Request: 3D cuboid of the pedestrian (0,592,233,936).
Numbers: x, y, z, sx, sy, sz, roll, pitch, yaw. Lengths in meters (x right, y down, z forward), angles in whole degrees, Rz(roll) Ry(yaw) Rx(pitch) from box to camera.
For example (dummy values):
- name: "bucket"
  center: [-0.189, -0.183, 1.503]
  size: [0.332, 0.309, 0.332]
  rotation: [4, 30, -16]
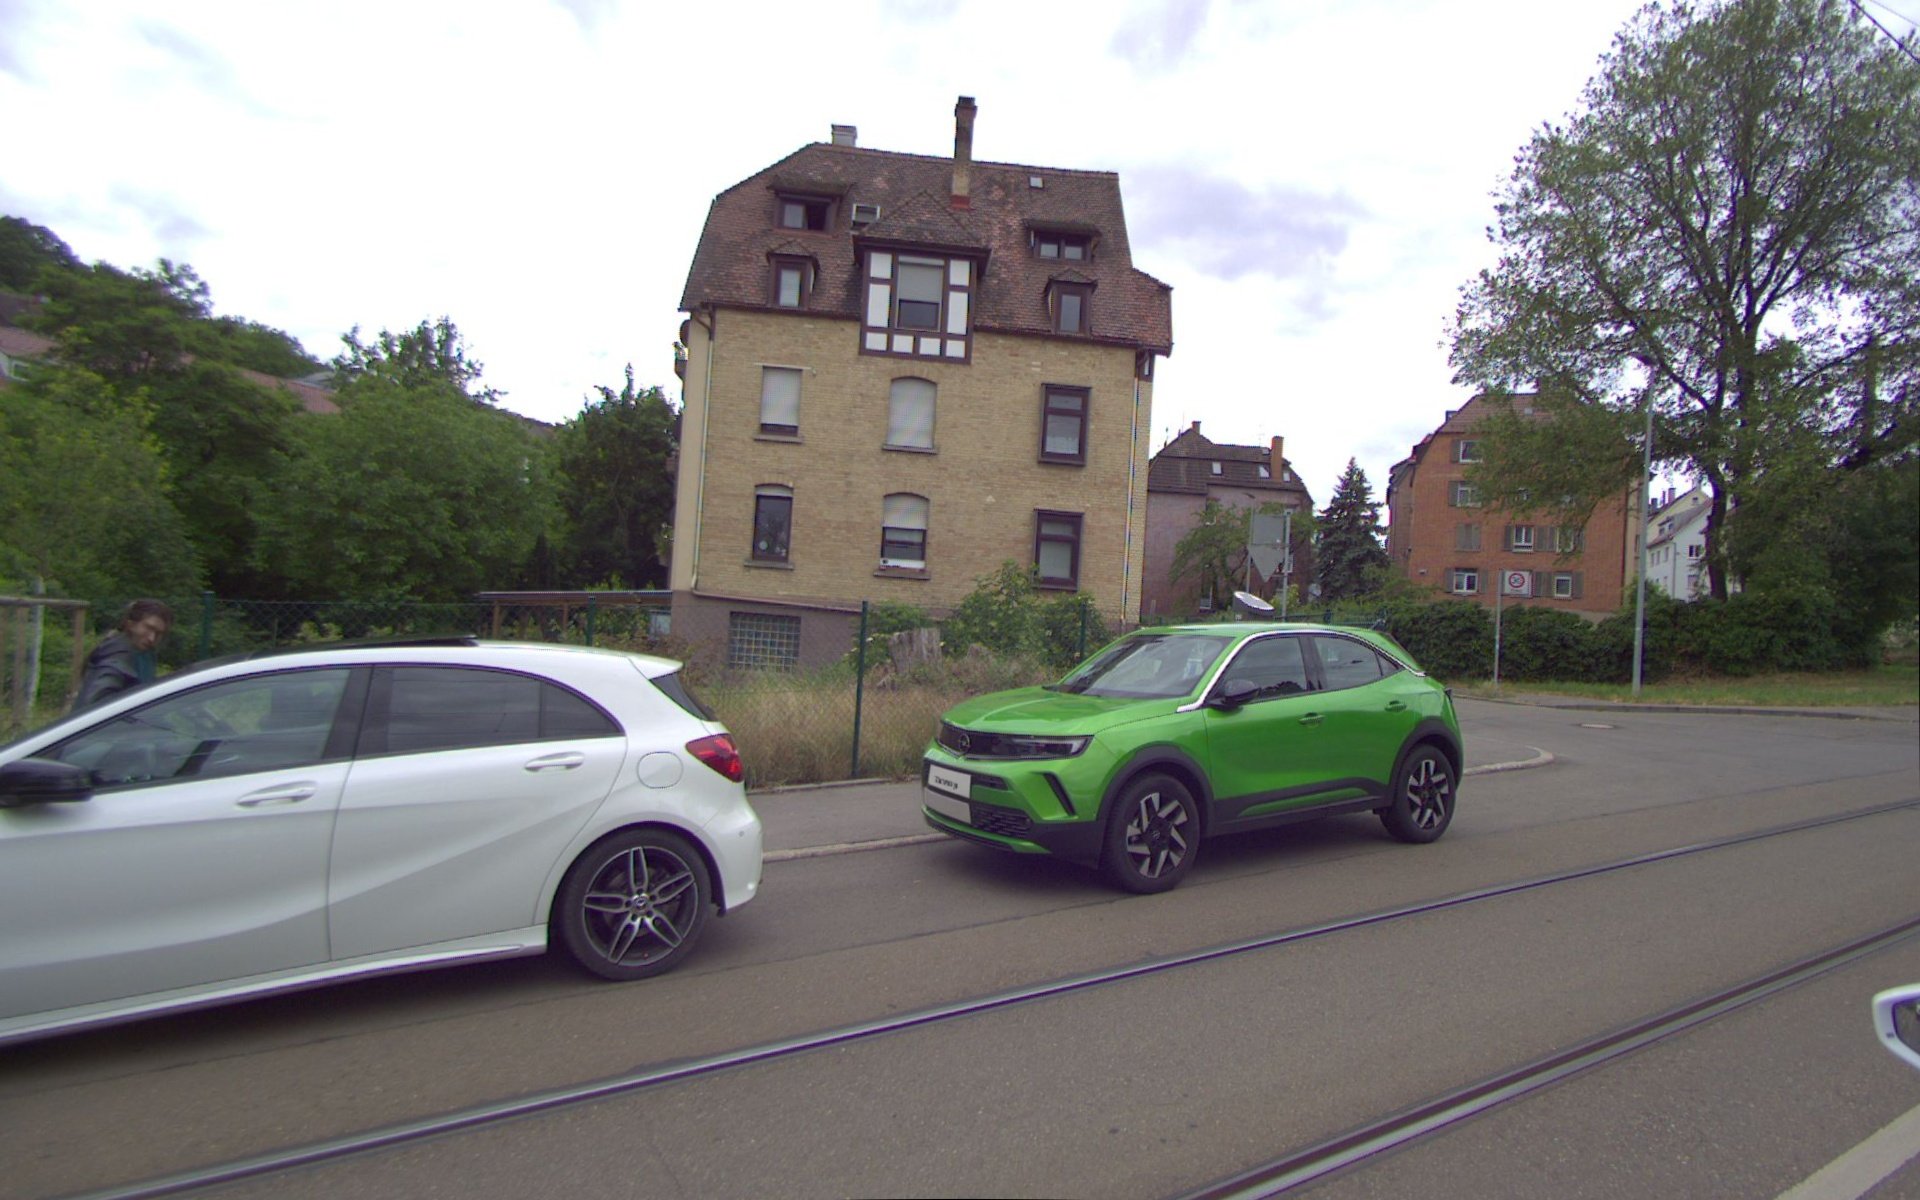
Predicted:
- name: "pedestrian"
  center: [-4.512, 0.798, 5.348]
  size: [0.906, 1.650, 0.801]
  rotation: [2, 0, -30]

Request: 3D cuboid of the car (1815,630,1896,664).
- name: "car"
  center: [47.308, 2.445, 53.179]
  size: [1.961, 1.617, 3.999]
  rotation: [2, -1, 23]

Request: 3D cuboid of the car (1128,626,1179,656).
- name: "car"
  center: [10.714, 2.241, 55.876]
  size: [1.907, 1.514, 3.999]
  rotation: [2, -1, -2]

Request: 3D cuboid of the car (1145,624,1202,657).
- name: "car"
  center: [10.677, 2.009, 50.479]
  size: [1.907, 1.514, 3.877]
  rotation: [2, -1, -2]

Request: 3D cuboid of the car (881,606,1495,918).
- name: "car"
  center: [1.678, 0.895, 6.974]
  size: [4.132, 1.600, 1.715]
  rotation: [1, -2, -31]

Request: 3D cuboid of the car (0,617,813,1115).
- name: "car"
  center: [-3.115, 0.862, 4.155]
  size: [4.610, 1.546, 1.876]
  rotation: [2, -2, -31]

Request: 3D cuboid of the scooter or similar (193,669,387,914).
- name: "scooter or similar"
  center: [-3.780, 1.026, 5.748]
  size: [0.829, 1.212, 0.801]
  rotation: [2, 0, -30]

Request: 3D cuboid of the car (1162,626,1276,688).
- name: "car"
  center: [7.313, 1.581, 28.767]
  size: [1.962, 1.514, 3.998]
  rotation: [2, -1, -4]

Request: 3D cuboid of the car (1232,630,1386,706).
- name: "car"
  center: [7.756, 1.466, 22.741]
  size: [1.854, 1.437, 3.998]
  rotation: [2, -1, -4]
